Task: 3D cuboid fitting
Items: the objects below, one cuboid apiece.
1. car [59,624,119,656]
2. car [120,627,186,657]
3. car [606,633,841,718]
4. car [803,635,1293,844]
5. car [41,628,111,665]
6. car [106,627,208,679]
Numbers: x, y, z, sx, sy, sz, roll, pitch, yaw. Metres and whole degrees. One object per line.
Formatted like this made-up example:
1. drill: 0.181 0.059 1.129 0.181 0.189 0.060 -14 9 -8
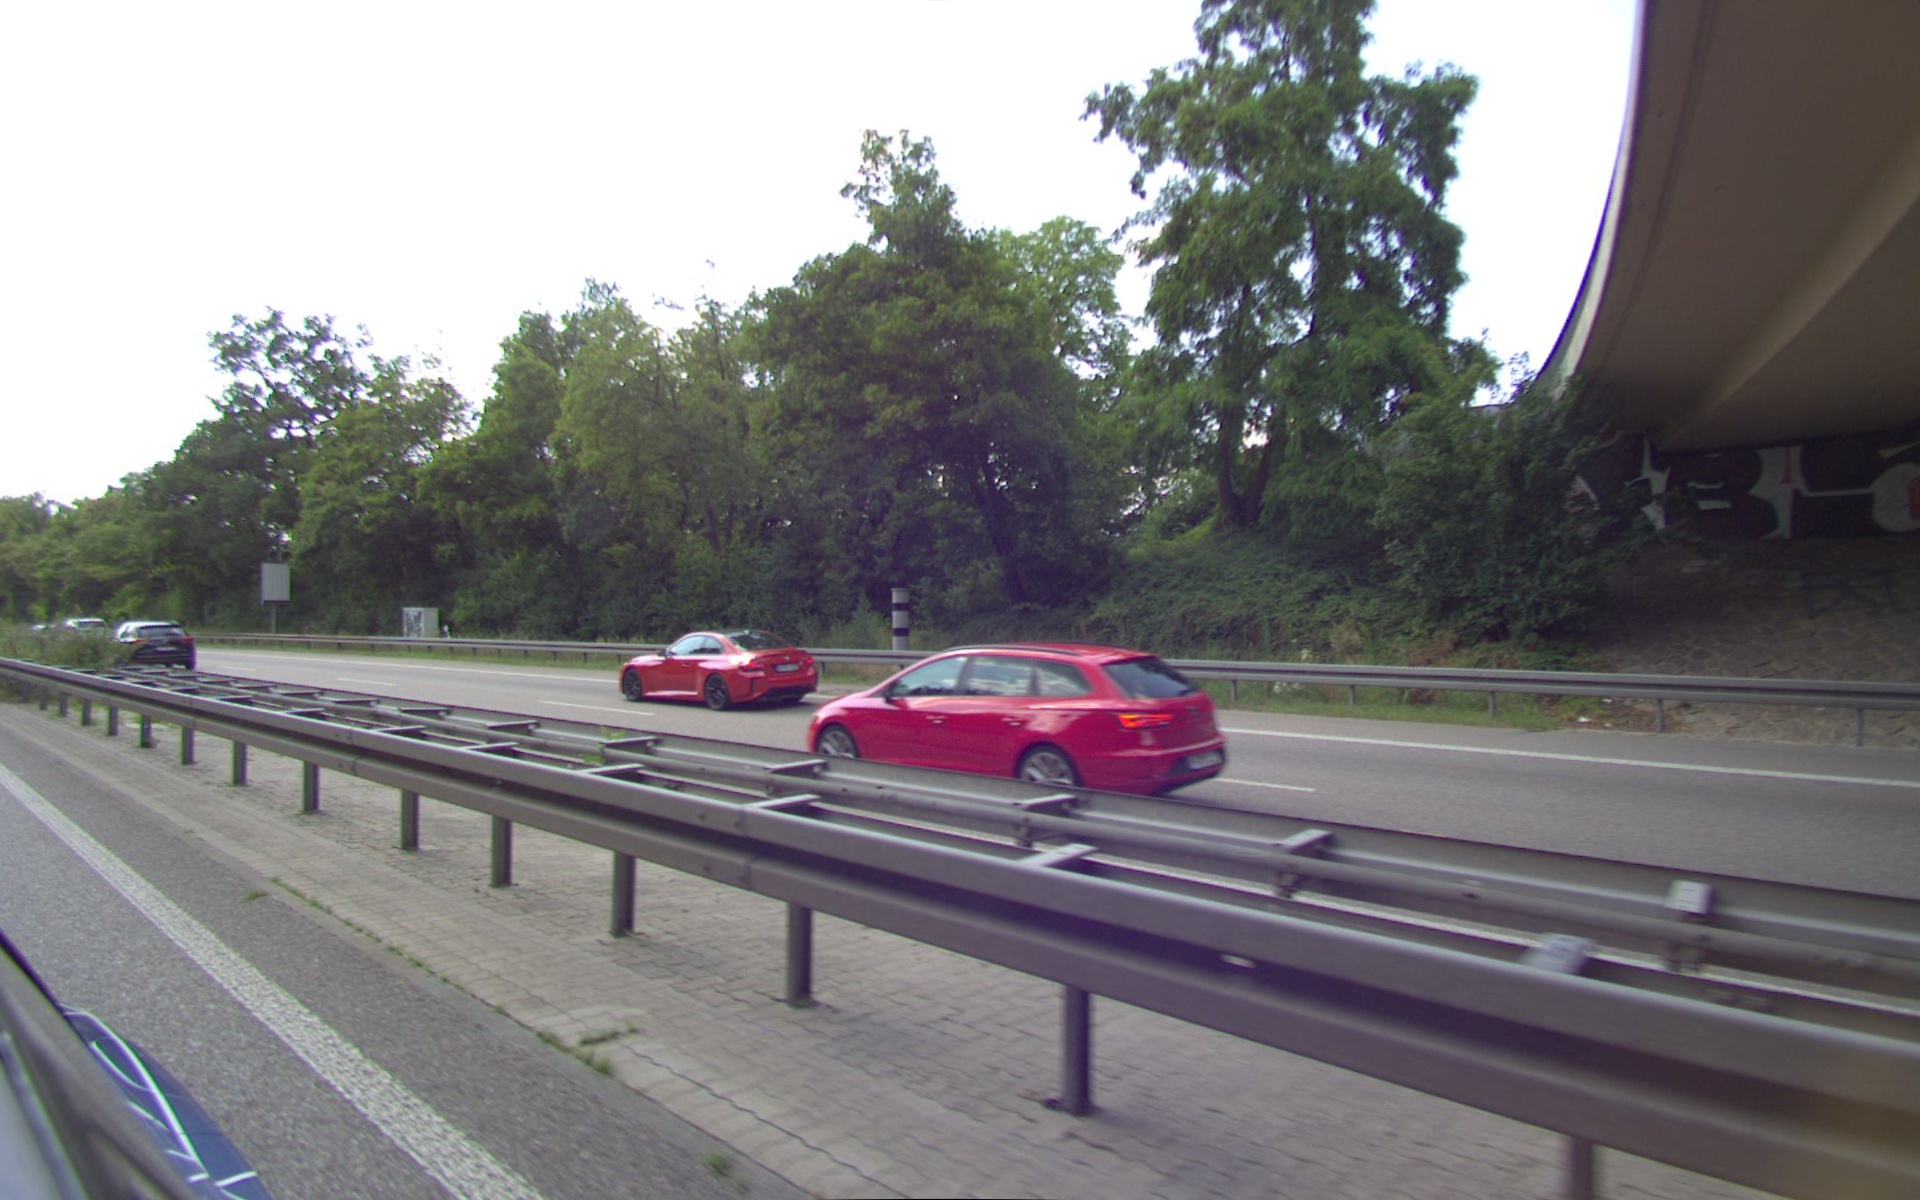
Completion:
1. car: -49.660 2.238 57.667 4.876 1.752 1.768 -1 -2 40
2. car: -42.674 2.191 53.484 4.802 1.467 1.845 -1 -2 41
3. car: -4.553 1.326 19.081 4.802 1.389 1.845 -1 -2 40
4. car: 0.625 1.089 9.471 4.434 1.488 1.668 -1 -2 40
5. car: -39.838 2.066 45.576 4.135 1.600 1.802 -1 -2 40
6. car: -26.957 1.724 33.929 4.562 1.601 1.846 -1 -2 40
